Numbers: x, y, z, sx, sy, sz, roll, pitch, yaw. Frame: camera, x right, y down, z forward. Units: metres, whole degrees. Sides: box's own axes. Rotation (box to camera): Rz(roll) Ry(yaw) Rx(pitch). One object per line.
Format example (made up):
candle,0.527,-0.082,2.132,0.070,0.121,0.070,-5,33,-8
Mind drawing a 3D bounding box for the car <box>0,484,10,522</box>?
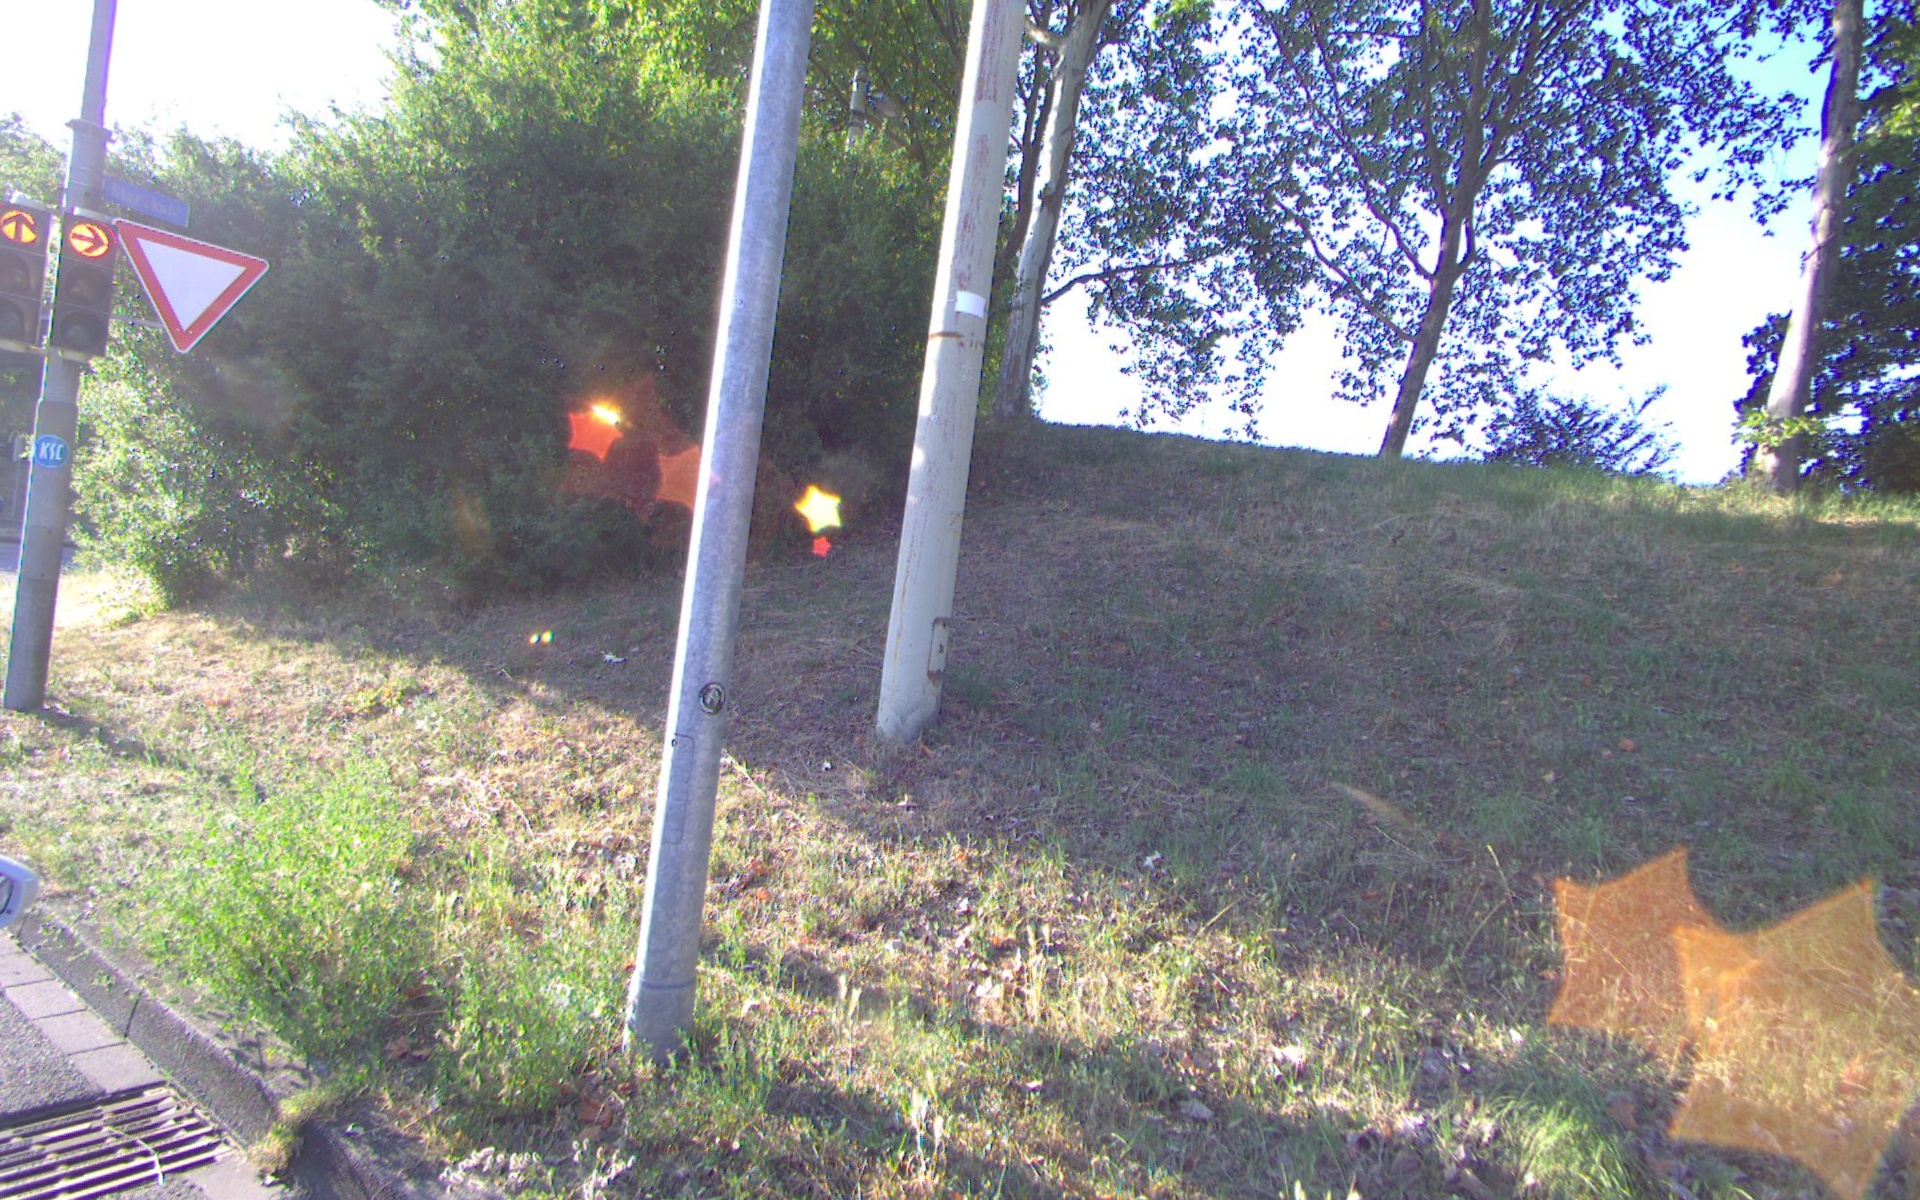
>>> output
car,-41.503,-4.276,40.714,1.962,1.577,3.939,7,-1,10
